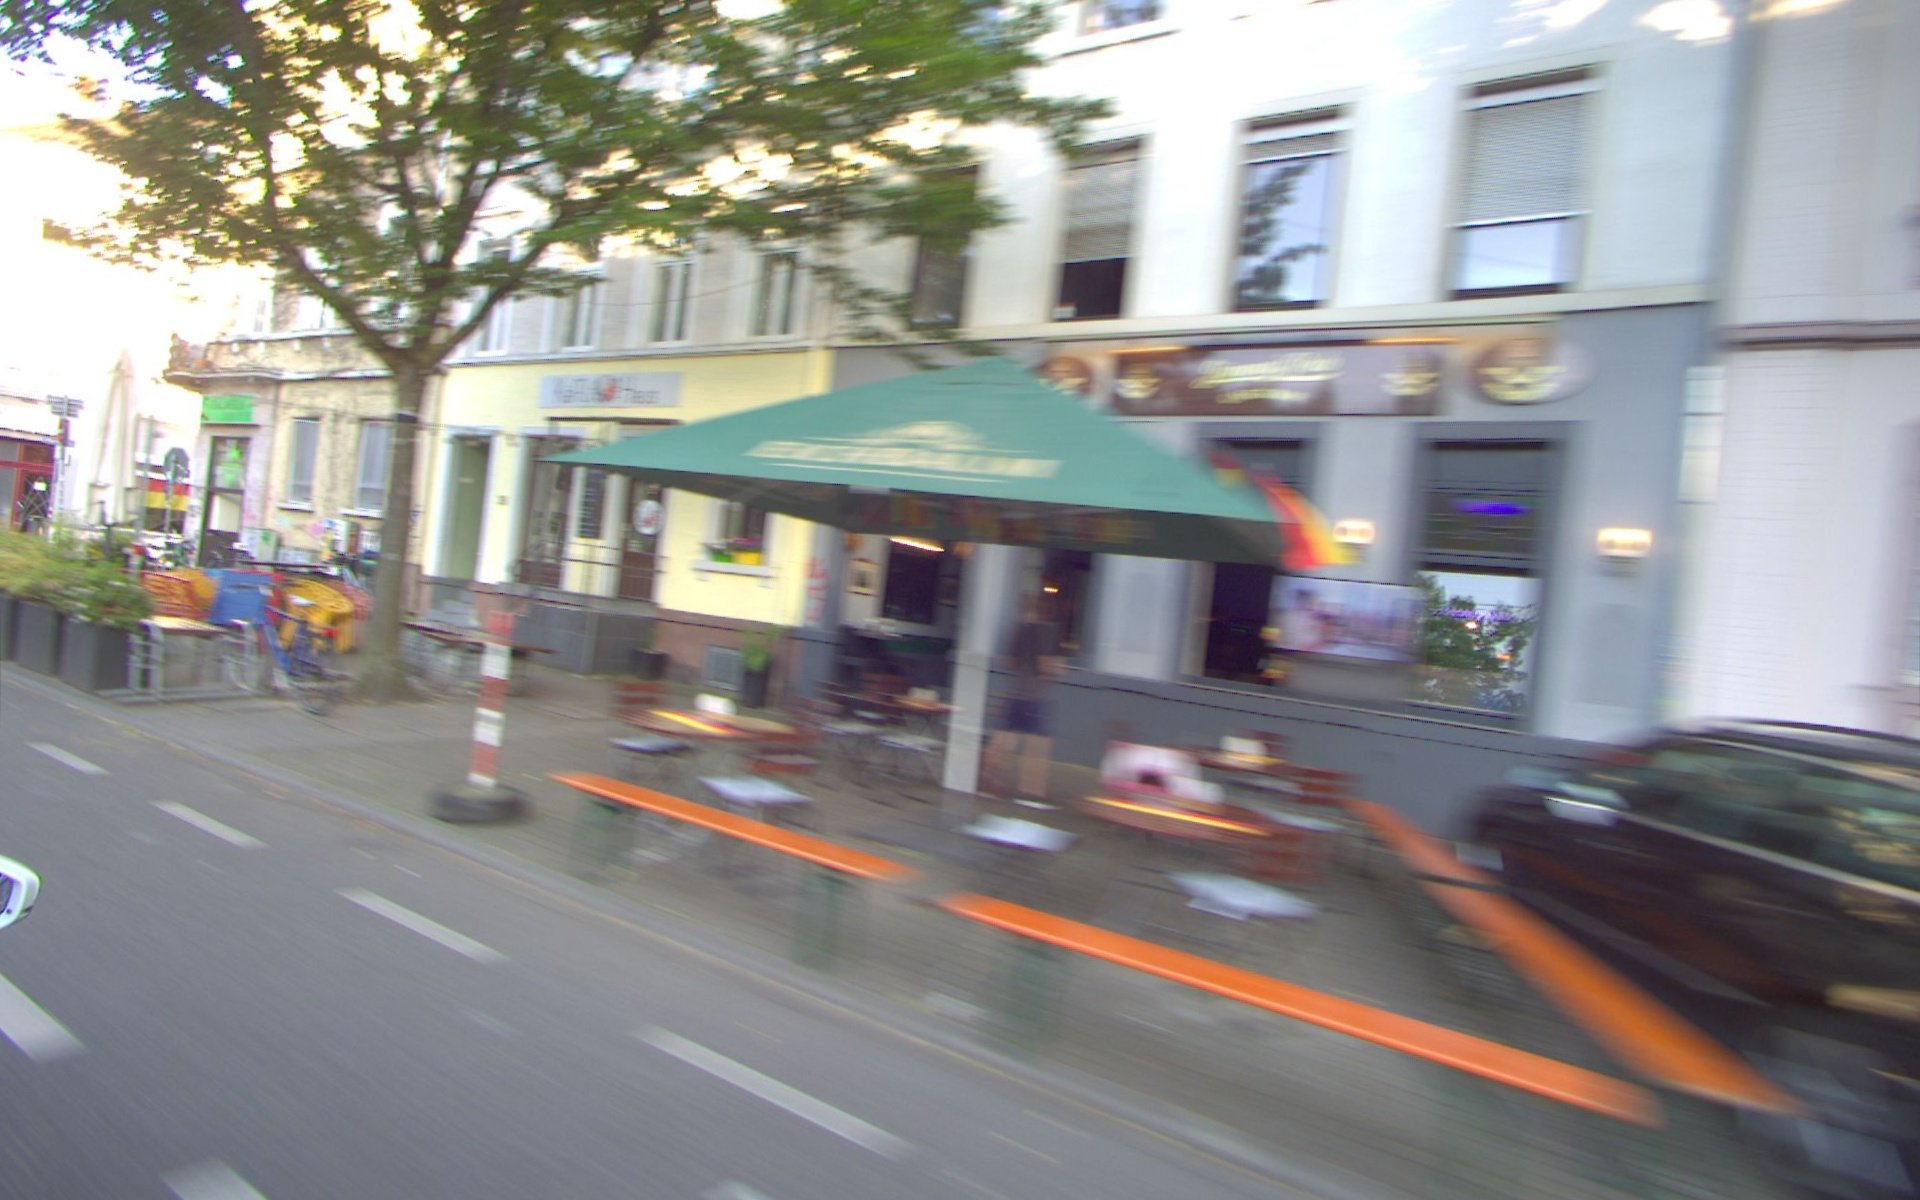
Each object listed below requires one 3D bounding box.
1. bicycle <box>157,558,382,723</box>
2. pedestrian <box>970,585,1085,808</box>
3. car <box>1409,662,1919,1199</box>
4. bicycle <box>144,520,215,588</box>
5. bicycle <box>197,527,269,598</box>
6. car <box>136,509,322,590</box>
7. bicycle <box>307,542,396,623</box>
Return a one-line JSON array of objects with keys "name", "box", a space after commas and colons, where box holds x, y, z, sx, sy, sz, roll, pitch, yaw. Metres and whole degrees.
[{"name": "bicycle", "box": [-6.014, 0.331, 8.725, 1.993, 1.138, 0.763, 7, -1, 32]}, {"name": "pedestrian", "box": [0.574, 0.797, 8.553, 0.635, 1.774, 0.497, 7, 1, 36]}, {"name": "car", "box": [3.784, 1.275, 4.370, 1.776, 1.536, 4.637, 8, 0, 5]}, {"name": "bicycle", "box": [-16.078, -0.953, 20.722, 1.559, 1.225, 0.524, 7, -1, 32]}, {"name": "bicycle", "box": [-14.343, -0.743, 19.841, 1.559, 1.225, 0.470, 7, -1, 32]}, {"name": "car", "box": [-23.223, -1.567, 32.115, 1.878, 1.862, 4.325, 6, -2, 37]}, {"name": "bicycle", "box": [-10.710, -0.325, 17.683, 1.753, 1.225, 0.470, 7, -1, 32]}]
